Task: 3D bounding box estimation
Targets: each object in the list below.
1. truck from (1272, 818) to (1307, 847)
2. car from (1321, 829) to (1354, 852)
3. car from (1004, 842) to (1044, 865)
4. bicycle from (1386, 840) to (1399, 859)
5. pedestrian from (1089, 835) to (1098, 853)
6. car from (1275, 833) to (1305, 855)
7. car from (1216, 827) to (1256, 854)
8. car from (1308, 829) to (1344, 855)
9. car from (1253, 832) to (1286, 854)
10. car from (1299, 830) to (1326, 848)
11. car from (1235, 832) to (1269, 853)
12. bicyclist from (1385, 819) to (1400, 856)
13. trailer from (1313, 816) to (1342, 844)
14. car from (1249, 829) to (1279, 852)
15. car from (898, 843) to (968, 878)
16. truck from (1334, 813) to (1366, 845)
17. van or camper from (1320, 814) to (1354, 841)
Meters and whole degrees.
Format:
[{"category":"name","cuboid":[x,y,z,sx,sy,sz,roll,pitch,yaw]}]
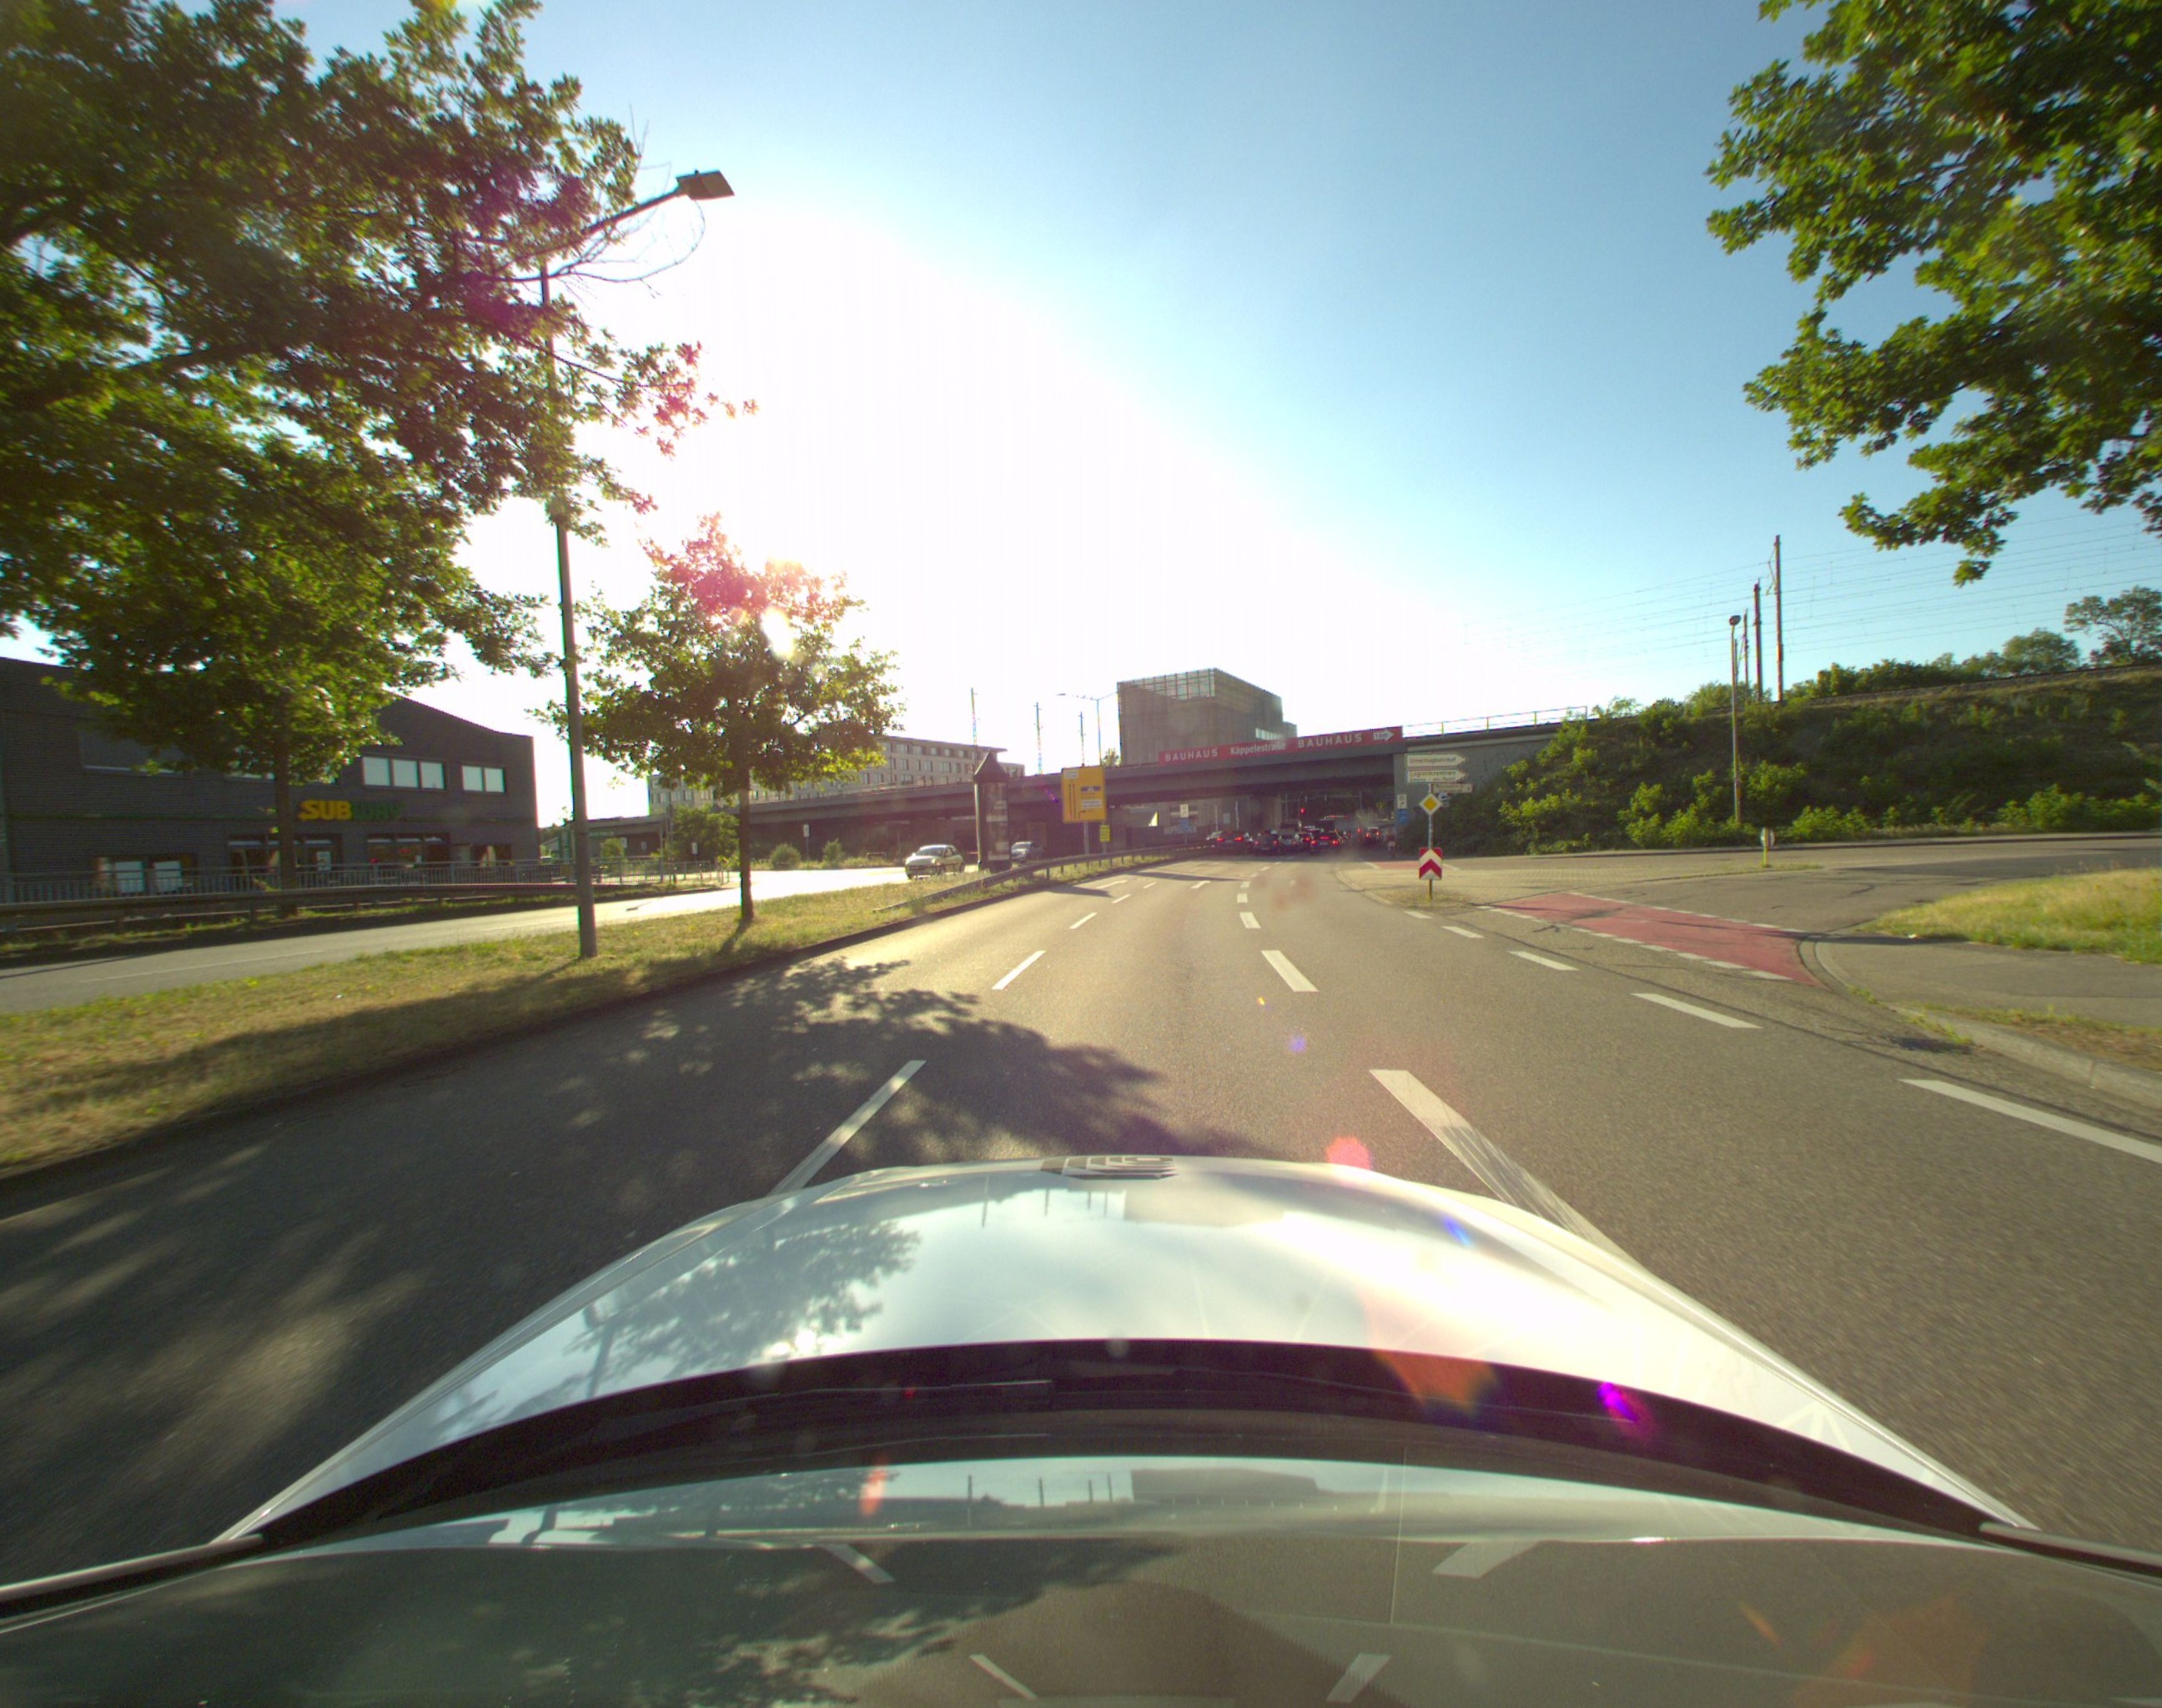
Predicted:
[{"category":"truck","cuboid":[19.526,-1.995,76.154,2.009,2.556,5.570,-2,1,26]},{"category":"car","cuboid":[18.977,-1.010,60.114,1.756,1.495,3.854,-3,0,25]},{"category":"car","cuboid":[-3.887,-0.058,56.152,1.662,1.462,4.118,-2,0,11]},{"category":"bicycle","cuboid":[16.354,-0.250,42.731,0.574,0.963,2.901,-2,0,21]},{"category":"pedestrian","cuboid":[1.330,-1.038,86.847,0.687,1.903,0.669,-2,0,27]},{"category":"car","cuboid":[15.206,-0.763,59.175,1.533,1.423,3.436,-5,0,22]},{"category":"car","cuboid":[10.959,-0.953,57.469,1.813,1.738,4.486,-2,0,23]},{"category":"car","cuboid":[16.026,-0.797,53.196,1.725,1.454,4.632,-1,2,23]},{"category":"car","cuboid":[12.660,-0.756,54.481,1.568,1.408,3.852,-1,1,21]},{"category":"car","cuboid":[20.181,-1.318,70.931,1.567,1.532,3.854,-1,1,25]},{"category":"car","cuboid":[13.404,-0.915,63.677,1.825,1.440,3.695,-5,-1,22]},{"category":"bicyclist","cuboid":[16.397,-0.864,42.923,0.676,1.906,0.837,-2,0,20]},{"category":"trailer","cuboid":[23.227,-2.227,76.647,1.846,2.465,3.855,-3,0,27]},{"category":"car","cuboid":[15.657,-1.159,69.470,1.826,1.719,4.021,-5,-1,20]},{"category":"car","cuboid":[-6.799,0.294,37.746,1.728,1.462,3.780,-3,0,14]},{"category":"truck","cuboid":[22.269,-2.049,67.329,2.092,2.519,4.426,-1,1,24]},{"category":"van or camper","cuboid":[25.750,-2.663,81.738,1.974,2.570,5.955,-2,1,29]}]
